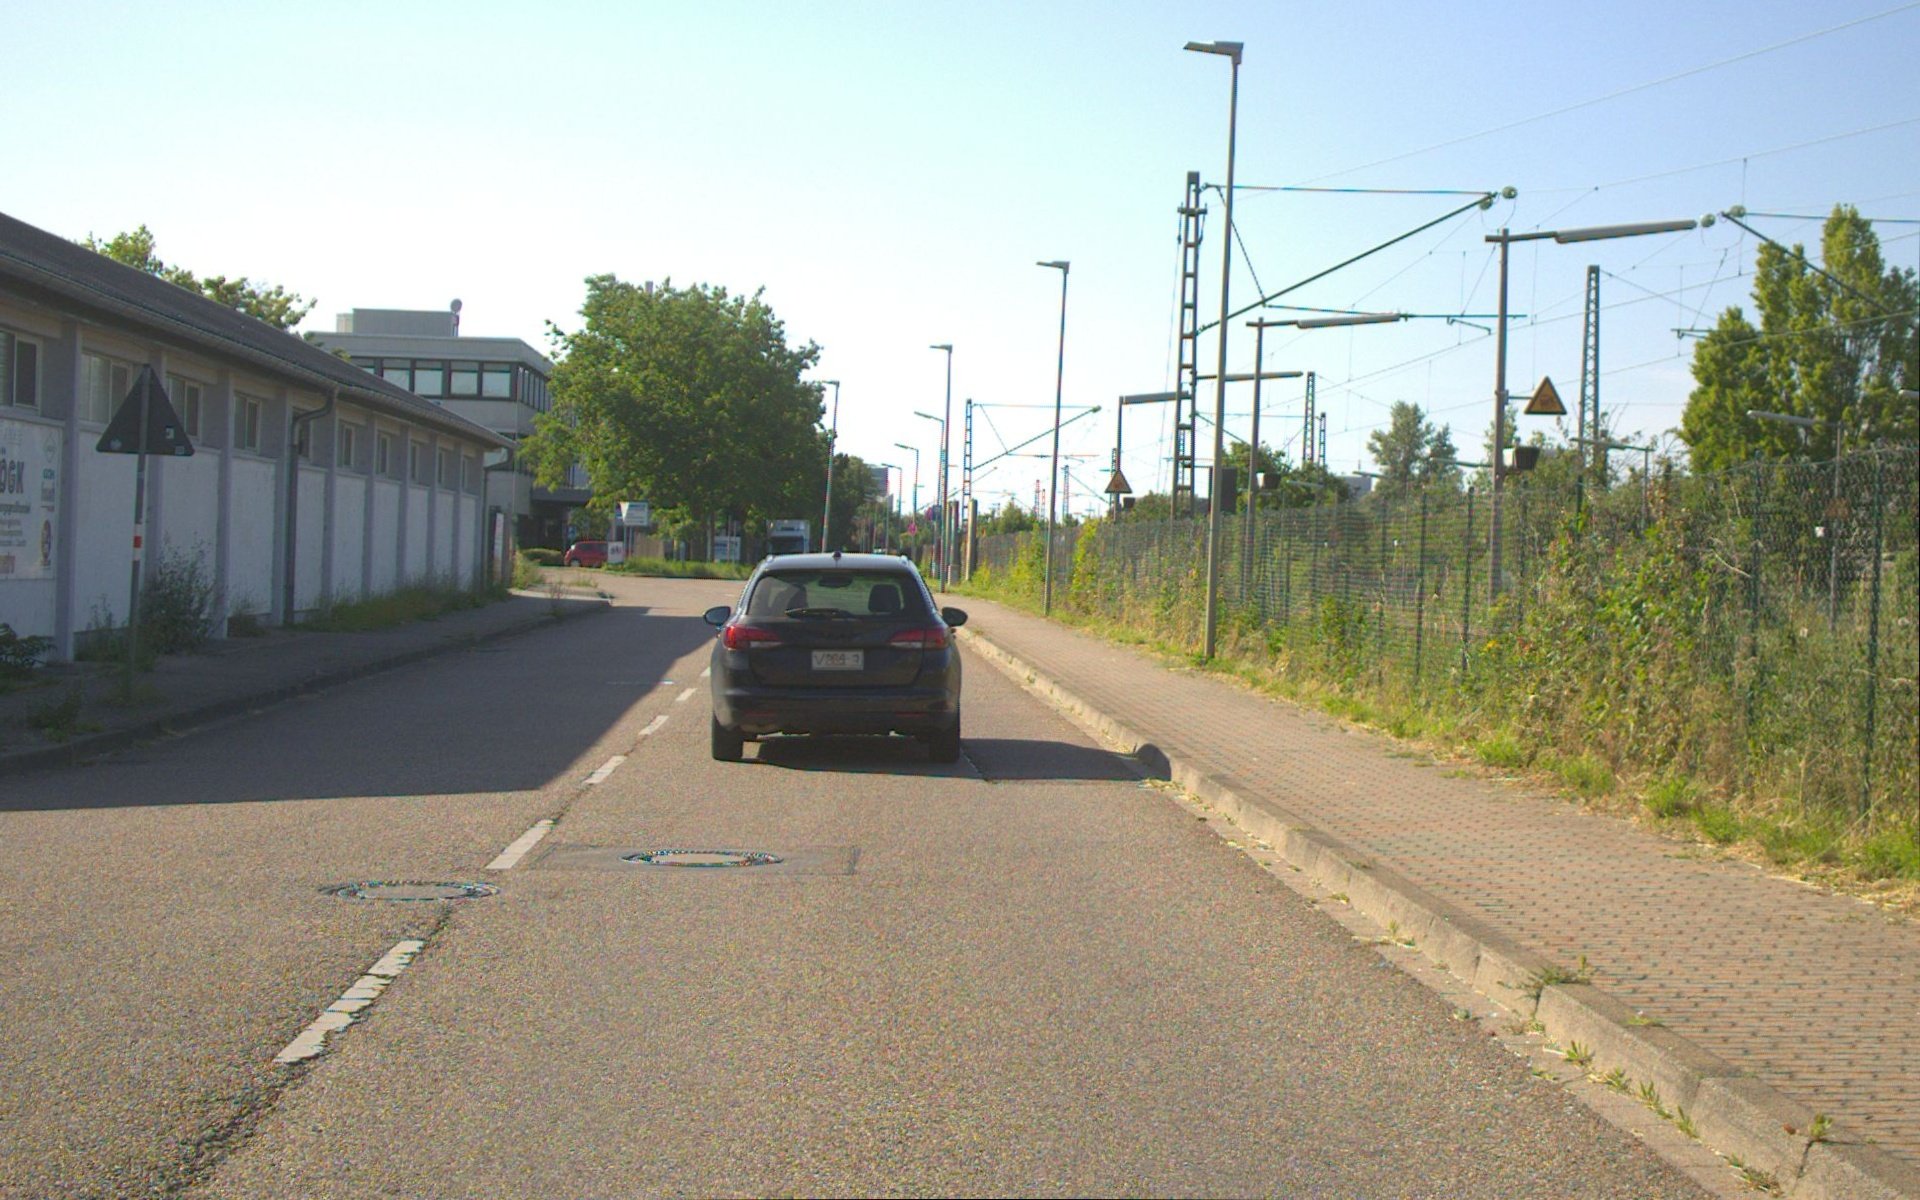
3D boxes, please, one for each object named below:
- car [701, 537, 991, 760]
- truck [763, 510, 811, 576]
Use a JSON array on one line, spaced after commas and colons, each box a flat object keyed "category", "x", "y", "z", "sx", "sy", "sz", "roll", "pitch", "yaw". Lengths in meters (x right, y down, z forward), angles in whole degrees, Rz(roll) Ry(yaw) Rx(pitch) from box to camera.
[{"category": "car", "x": -0.863, "y": 0.306, "z": 25.510, "sx": 1.942, "sy": 1.483, "sz": 4.566, "roll": 1, "pitch": 1, "yaw": -2}, {"category": "truck", "x": -10.885, "y": -3.567, "z": 215.636, "sx": 2.612, "sy": 3.872, "sz": 13.534, "roll": 3, "pitch": 1, "yaw": -4}]
